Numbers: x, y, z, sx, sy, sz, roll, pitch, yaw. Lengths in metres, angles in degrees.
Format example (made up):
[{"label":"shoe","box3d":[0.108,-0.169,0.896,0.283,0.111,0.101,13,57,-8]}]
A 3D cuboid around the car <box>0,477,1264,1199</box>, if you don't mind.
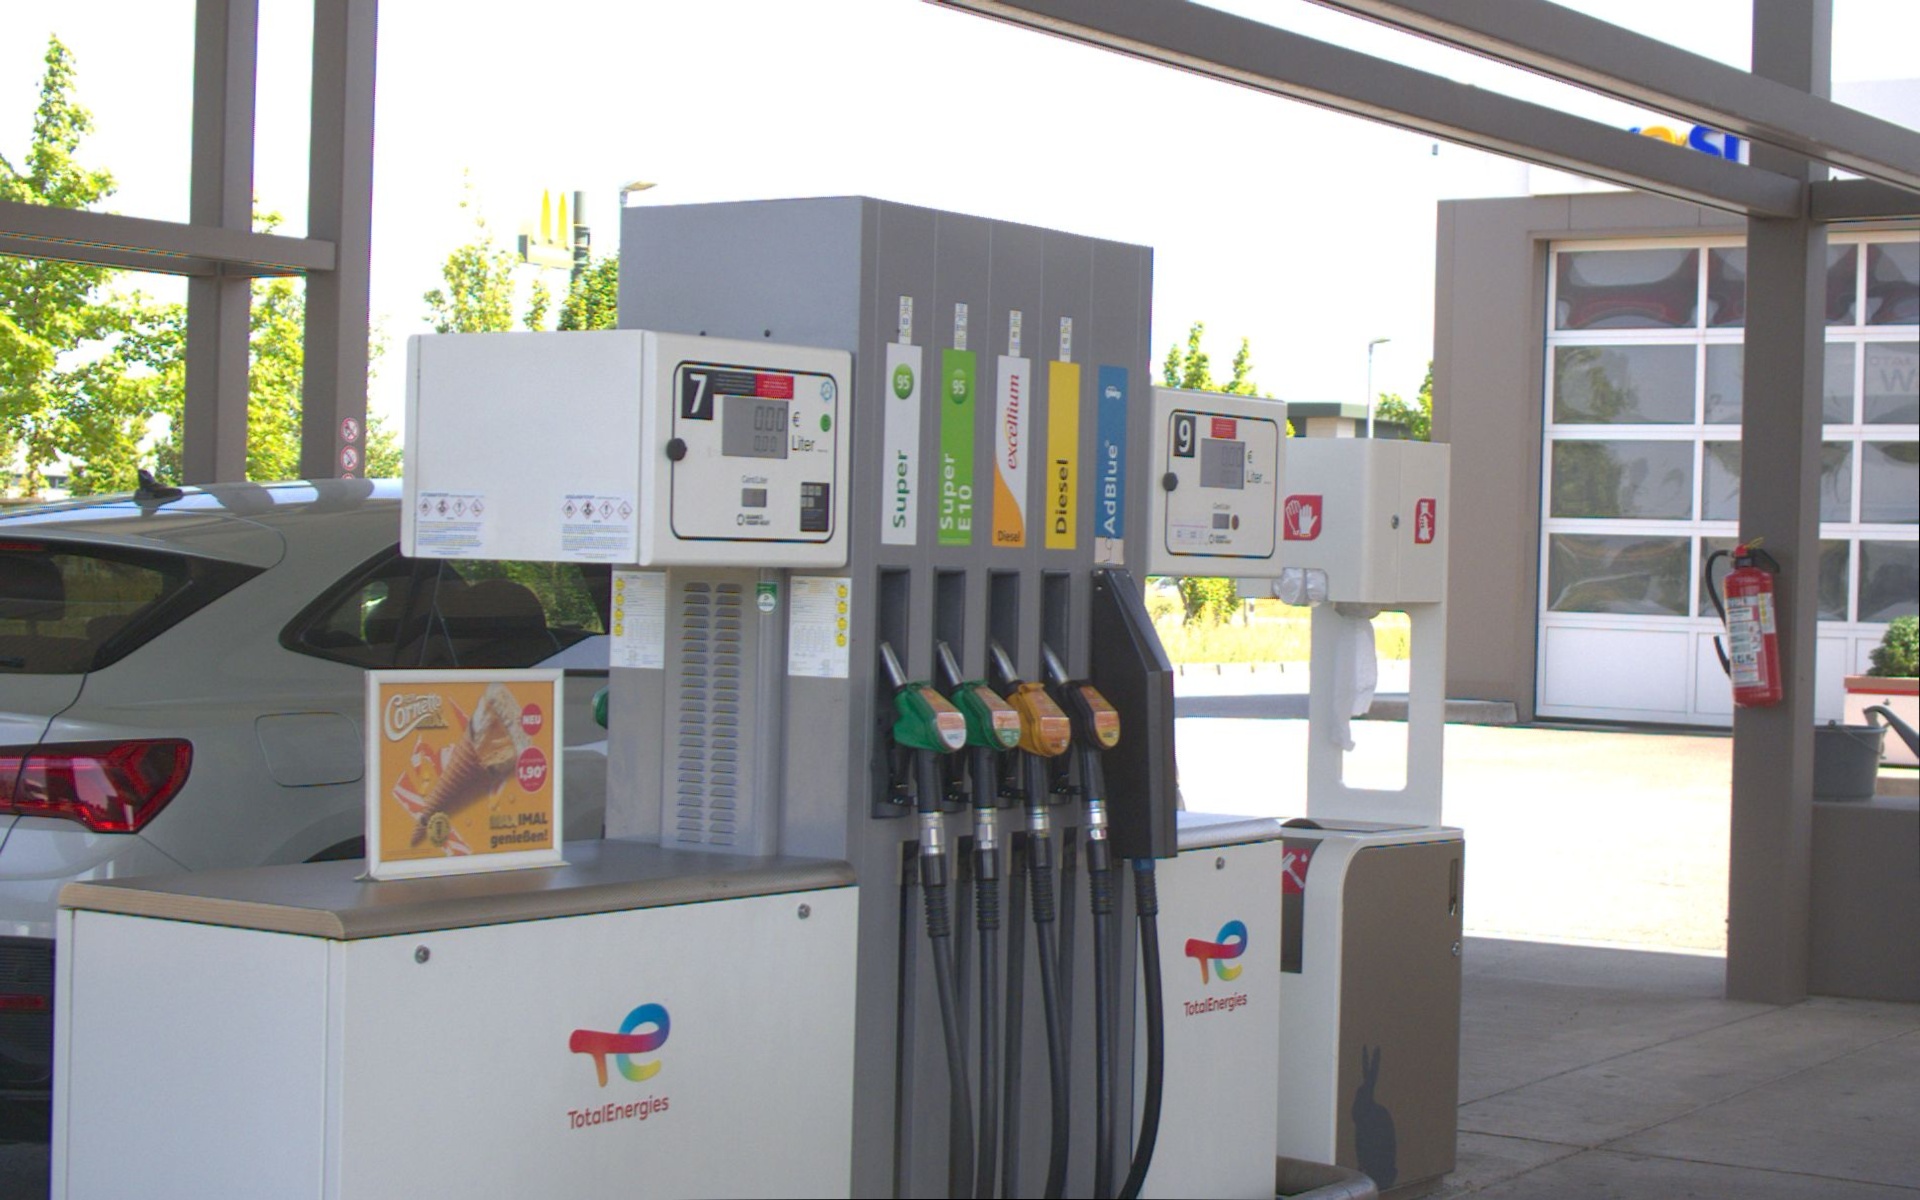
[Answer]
[{"label":"car","box3d":[-1.140,0.514,8.192,1.784,1.536,4.317,2,2,35]}]
